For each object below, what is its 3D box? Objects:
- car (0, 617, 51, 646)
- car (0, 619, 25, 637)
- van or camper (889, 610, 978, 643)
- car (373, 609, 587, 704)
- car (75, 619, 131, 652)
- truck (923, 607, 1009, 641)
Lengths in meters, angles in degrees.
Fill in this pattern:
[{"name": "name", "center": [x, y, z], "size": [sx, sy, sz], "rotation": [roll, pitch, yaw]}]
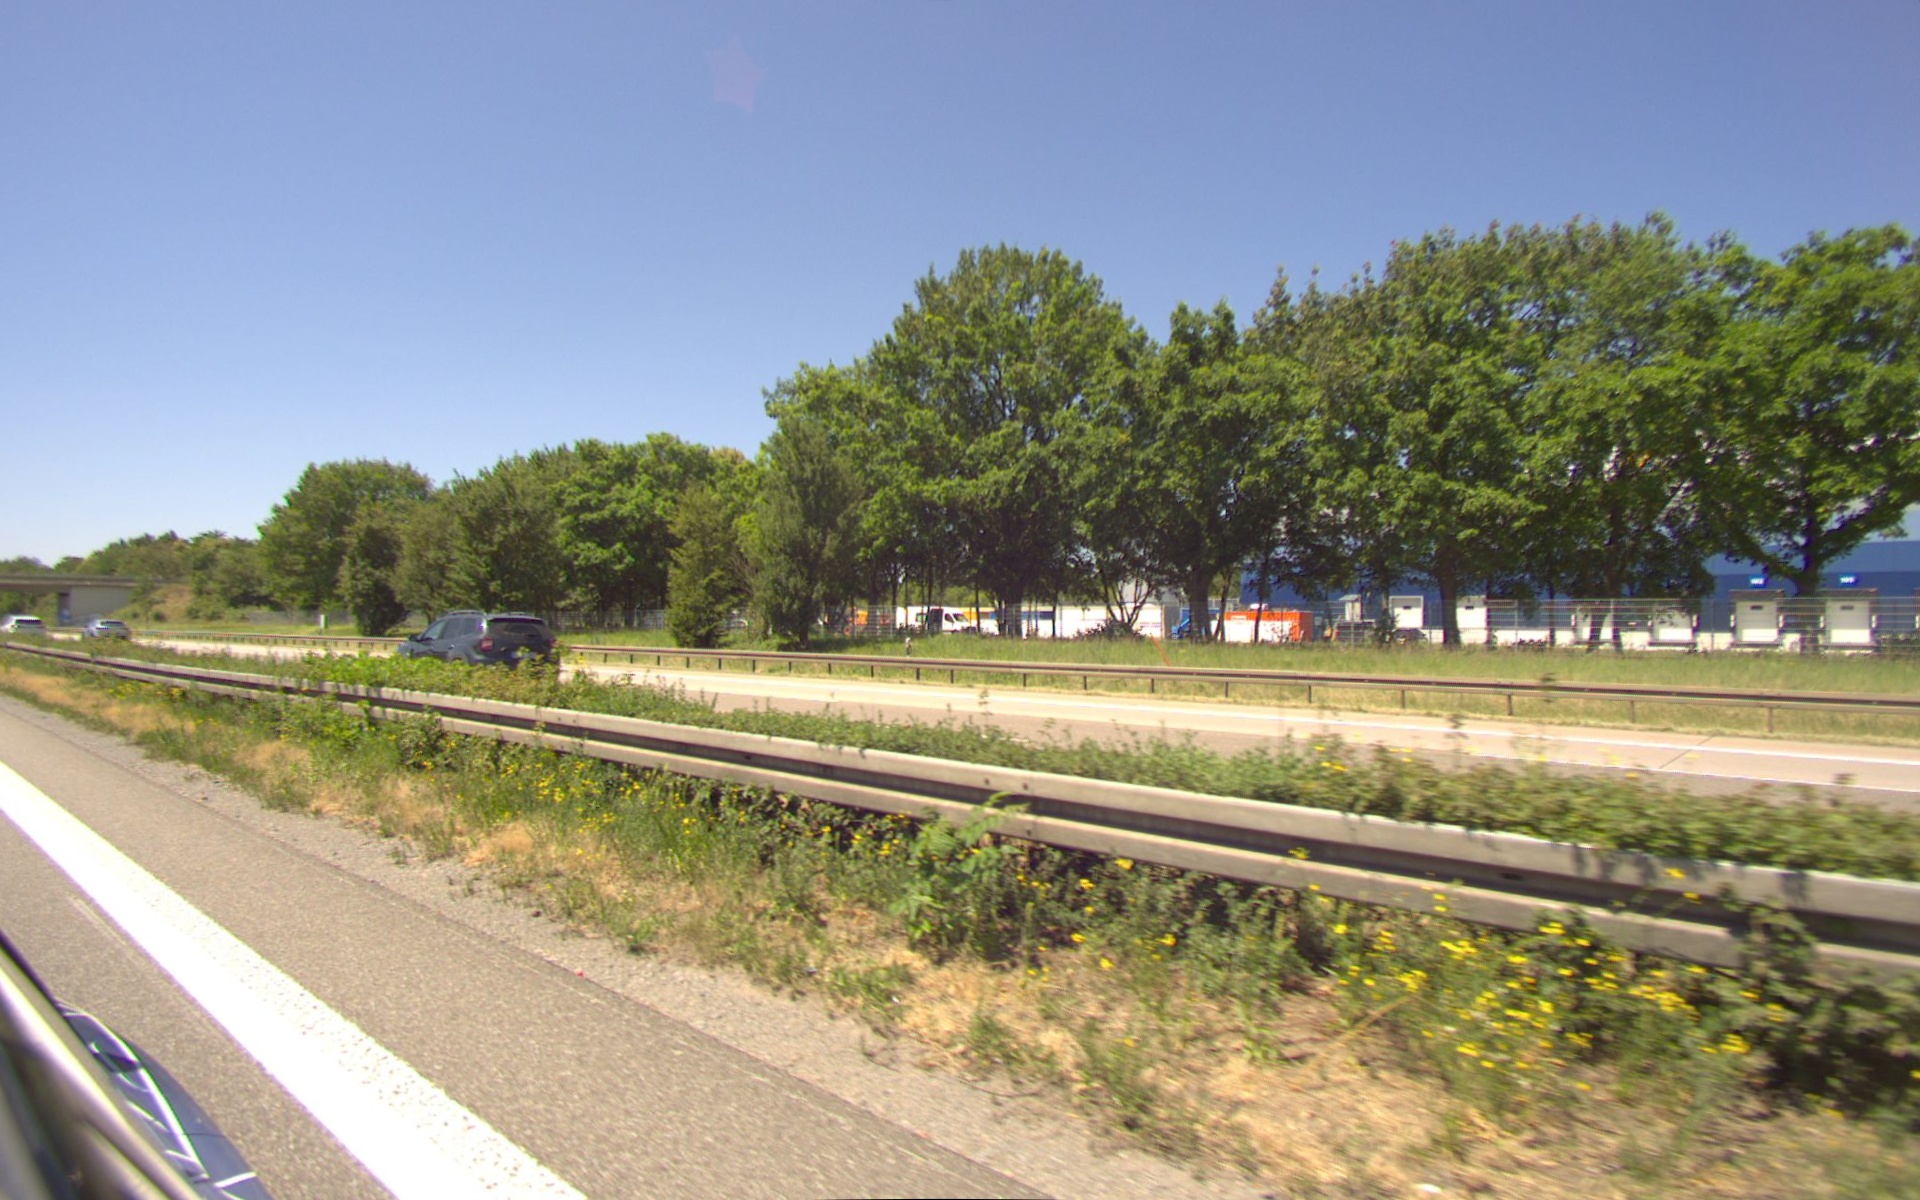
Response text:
[{"name": "car", "center": [-57.576, 1.897, 62.230], "size": [4.570, 1.652, 1.973], "rotation": [-1, 0, 41]}, {"name": "car", "center": [-108.867, 3.148, 116.000], "size": [4.269, 2.029, 1.973], "rotation": [-1, -2, 40]}, {"name": "van or camper", "center": [-2.268, 2.190, 83.227], "size": [7.717, 2.571, 2.333], "rotation": [-1, -2, 39]}, {"name": "car", "center": [-9.567, 1.089, 19.993], "size": [4.856, 1.652, 1.973], "rotation": [-1, -5, 41]}, {"name": "car", "center": [-50.524, 2.030, 59.608], "size": [4.422, 1.807, 1.853], "rotation": [-1, 0, 41]}, {"name": "truck", "center": [0.500, 2.367, 100.410], "size": [8.291, 3.216, 3.512], "rotation": [-1, -3, 41]}]
